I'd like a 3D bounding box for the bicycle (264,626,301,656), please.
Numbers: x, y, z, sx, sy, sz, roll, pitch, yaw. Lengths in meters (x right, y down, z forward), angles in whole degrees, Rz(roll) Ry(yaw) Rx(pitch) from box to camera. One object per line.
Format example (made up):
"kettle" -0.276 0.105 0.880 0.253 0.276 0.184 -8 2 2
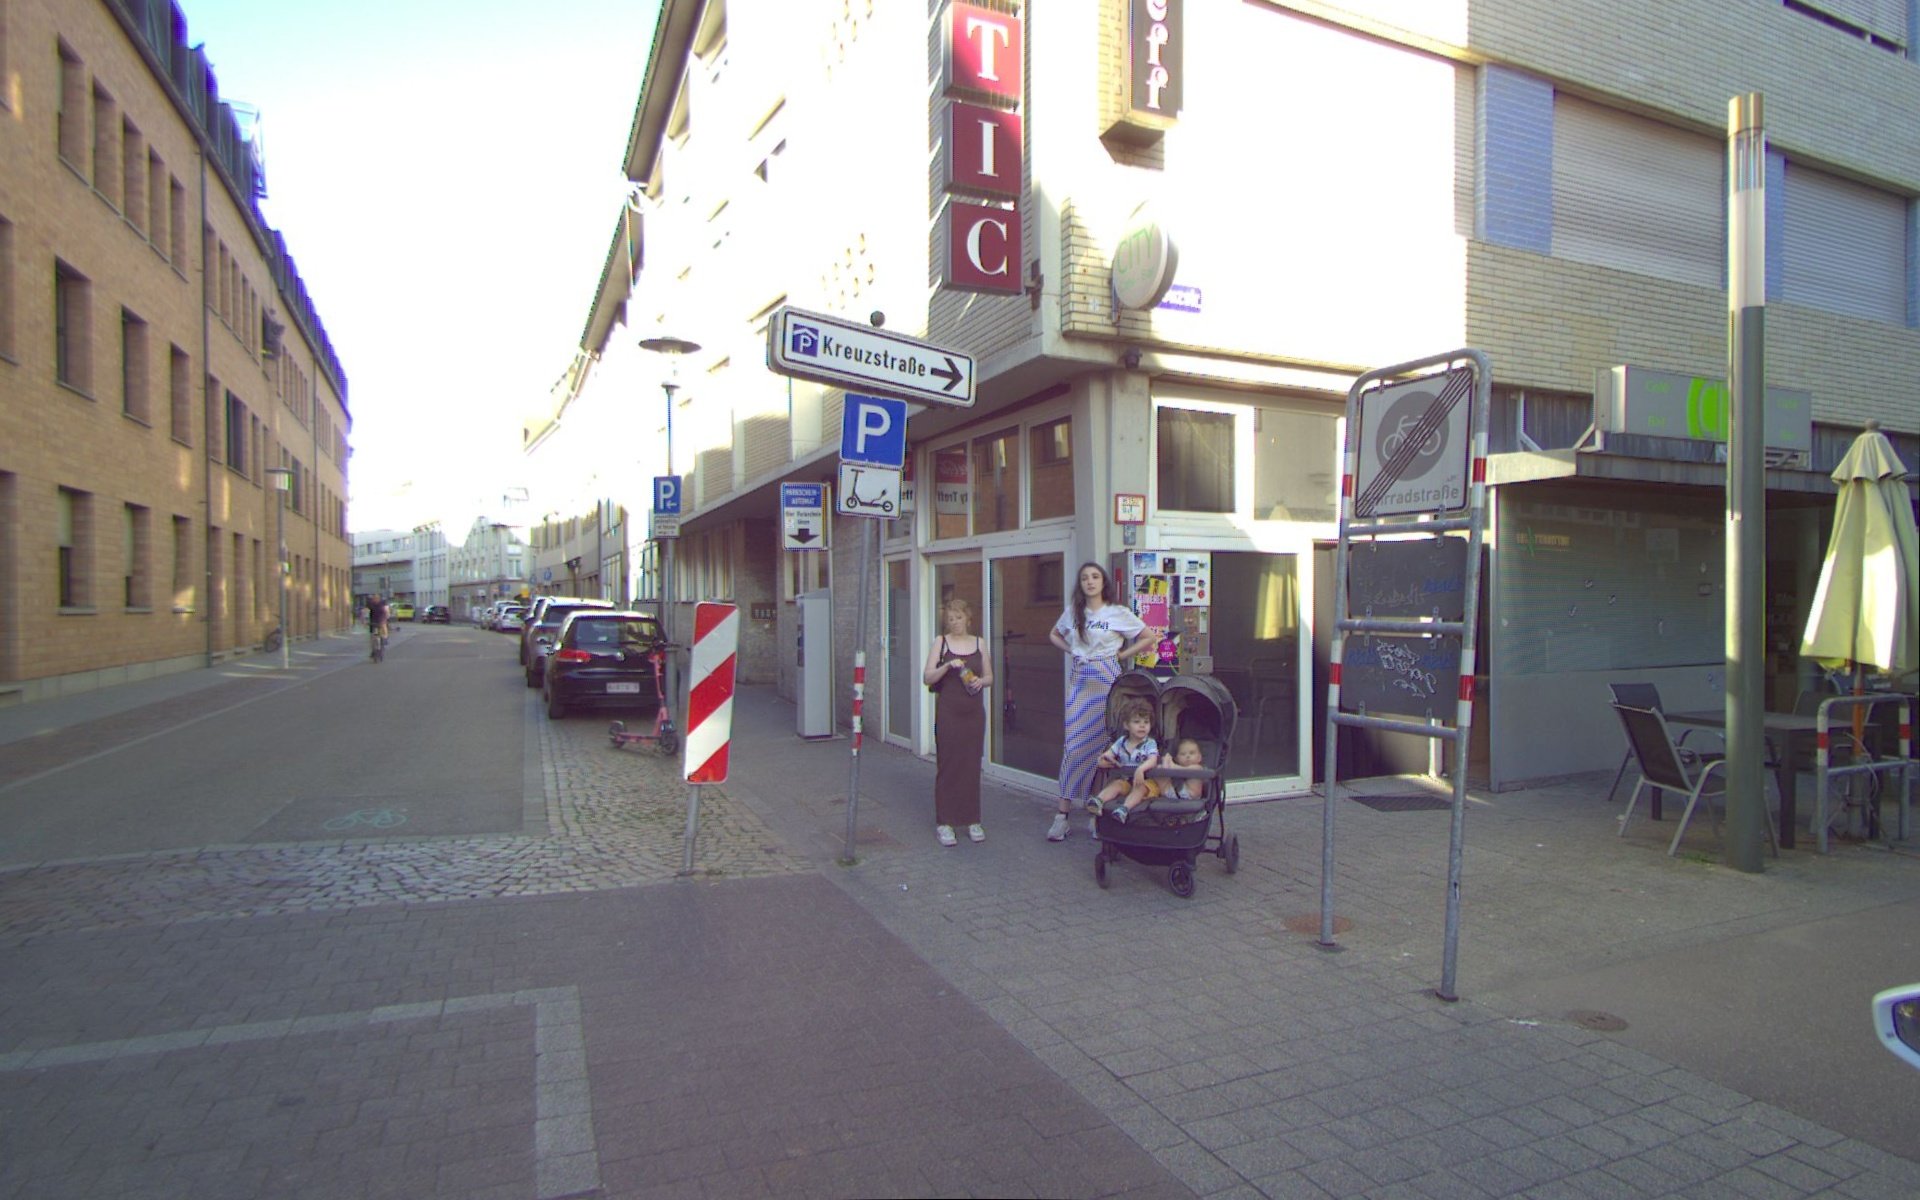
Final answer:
"bicycle" -21.557 1.293 32.009 0.635 0.893 2.539 1 -1 -27

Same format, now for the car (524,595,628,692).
"car" -7.605 0.807 19.686 1.651 1.683 4.057 2 -1 -24

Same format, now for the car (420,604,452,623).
"car" -47.859 1.223 91.741 1.918 1.673 3.795 0 0 -38

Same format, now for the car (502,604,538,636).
"car" -24.650 1.131 56.255 1.672 1.701 3.484 2 -1 -26

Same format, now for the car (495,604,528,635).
"car" -27.520 1.195 61.599 1.672 1.799 3.631 2 -1 -26

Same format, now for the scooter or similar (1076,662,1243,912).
"scooter or similar" 1.130 0.962 5.539 0.783 1.159 0.954 0 1 19

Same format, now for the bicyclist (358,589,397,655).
"bicyclist" -15.290 0.565 26.368 0.763 1.678 0.950 -3 1 -28

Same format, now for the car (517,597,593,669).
"car" -10.658 0.834 26.315 1.651 1.727 3.989 2 -1 -24

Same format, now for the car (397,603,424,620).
"car" -57.451 1.186 104.958 1.919 1.673 3.795 1 -1 -38

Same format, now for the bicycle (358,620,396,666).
"bicycle" -15.168 1.097 26.162 0.696 1.118 1.814 -4 1 -28

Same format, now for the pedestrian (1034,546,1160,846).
"pedestrian" 0.899 0.598 6.513 0.647 1.844 0.571 -2 1 18

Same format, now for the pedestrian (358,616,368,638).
"pedestrian" -43.763 1.990 73.637 0.536 1.565 0.402 1 0 -26

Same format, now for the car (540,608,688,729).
"car" -5.225 0.920 14.880 1.717 1.506 3.788 2 -1 -24

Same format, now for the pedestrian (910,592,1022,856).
"pedestrian" 0.028 0.764 6.484 0.525 1.601 0.509 -3 1 -18

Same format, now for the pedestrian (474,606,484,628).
"pedestrian" -32.640 1.135 68.107 0.565 1.499 0.470 0 0 -32

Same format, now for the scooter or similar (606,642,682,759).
"scooter or similar" -3.375 1.053 10.712 0.866 1.199 0.208 0 0 26
